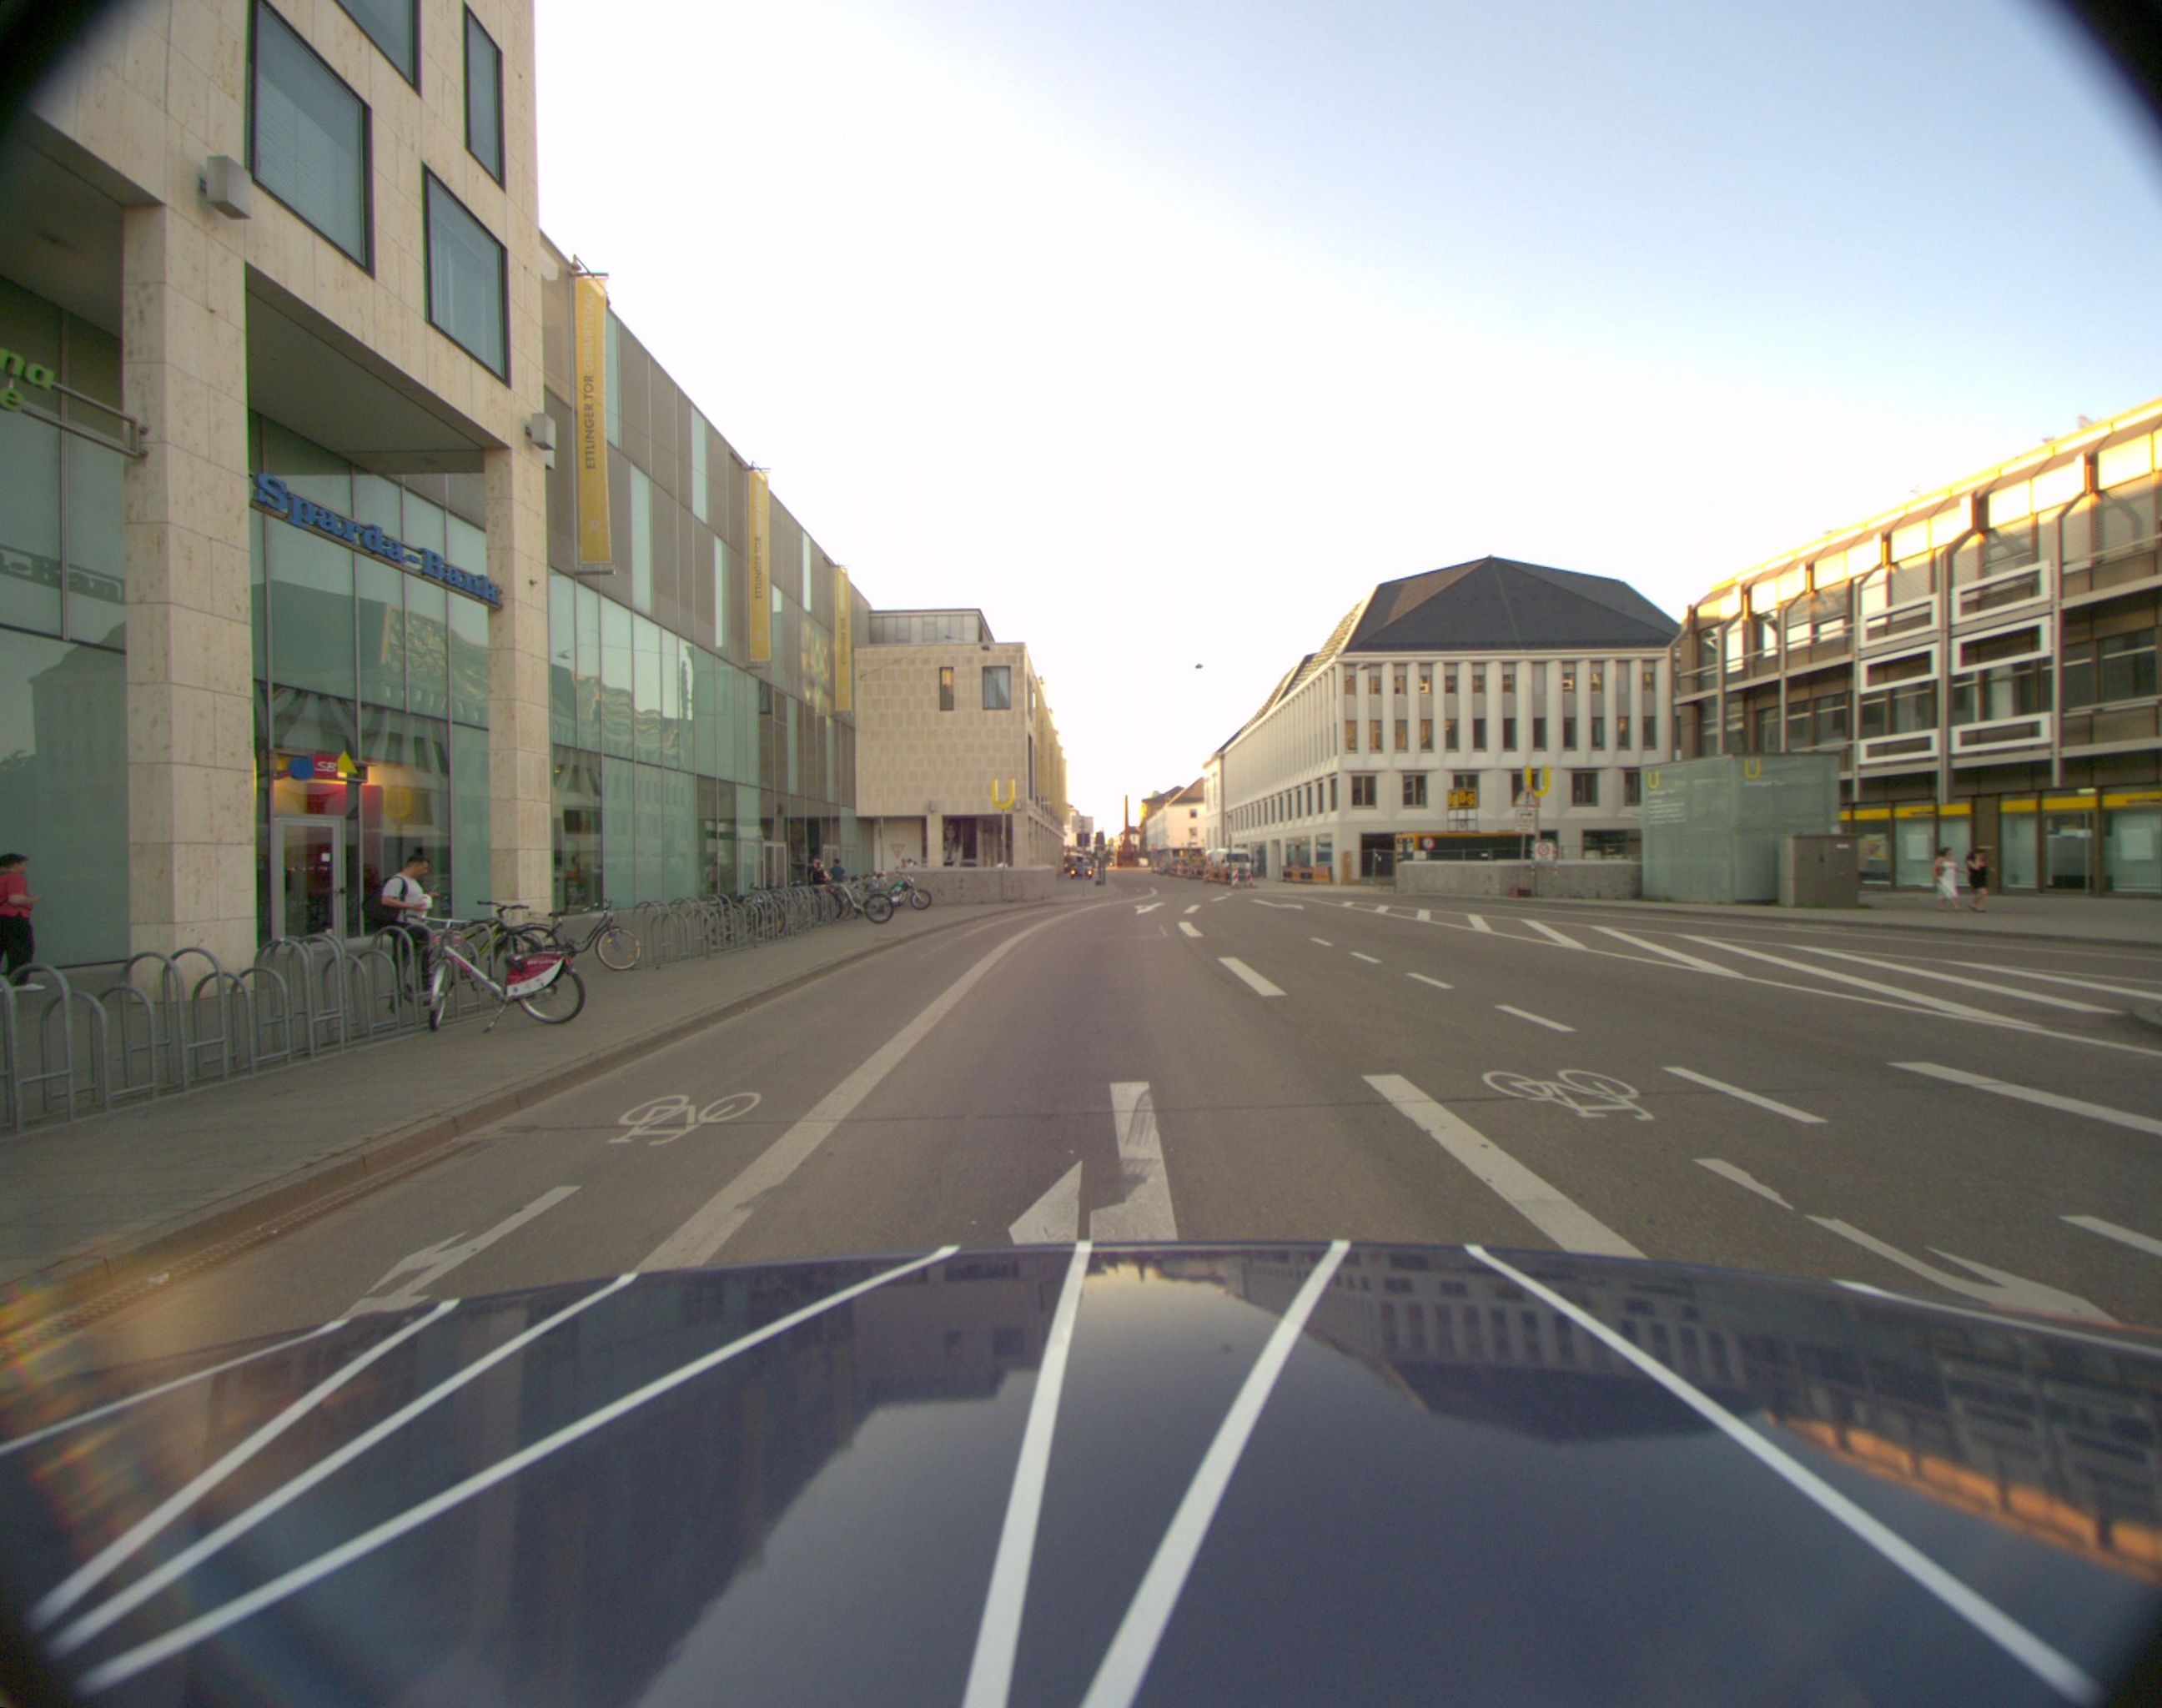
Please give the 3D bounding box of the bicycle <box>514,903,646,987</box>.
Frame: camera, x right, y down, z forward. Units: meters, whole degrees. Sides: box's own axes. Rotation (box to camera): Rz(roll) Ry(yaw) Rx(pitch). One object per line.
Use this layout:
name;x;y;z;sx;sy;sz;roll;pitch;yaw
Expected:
bicycle;-7.294;1.310;11.117;1.447;1.058;0.580;-3;0;-10

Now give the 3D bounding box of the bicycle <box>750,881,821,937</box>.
bicycle;-6.651;1.232;17.122;1.345;1.157;0.518;-3;0;-1

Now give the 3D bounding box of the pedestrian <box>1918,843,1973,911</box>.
pedestrian;21.179;0.560;18.619;0.670;1.629;0.584;-1;0;1

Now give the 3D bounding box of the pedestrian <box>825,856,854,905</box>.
pedestrian;-8.460;0.905;26.661;0.698;1.686;0.820;-1;0;3

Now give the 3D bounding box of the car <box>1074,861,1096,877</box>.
car;0.345;1.287;67.988;1.798;1.365;3.671;-1;0;2

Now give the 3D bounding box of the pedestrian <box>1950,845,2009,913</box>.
pedestrian;21.893;0.601;18.529;0.616;1.629;0.703;-1;0;1

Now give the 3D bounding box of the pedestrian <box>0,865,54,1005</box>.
pedestrian;-13.062;0.961;9.071;0.629;1.642;0.708;-1;0;2

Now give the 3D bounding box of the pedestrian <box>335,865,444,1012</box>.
pedestrian;-8.259;0.980;9.105;0.708;1.682;0.629;-1;0;-8

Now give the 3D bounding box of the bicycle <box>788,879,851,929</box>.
bicycle;-6.595;1.259;19.207;1.345;1.157;0.518;-3;0;-1

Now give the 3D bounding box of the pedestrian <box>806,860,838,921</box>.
pedestrian;-7.103;0.996;20.875;0.809;1.633;0.646;-1;0;-18

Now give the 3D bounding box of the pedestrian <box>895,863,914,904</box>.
pedestrian;-7.809;1.285;33.677;0.619;1.770;0.812;-1;0;3

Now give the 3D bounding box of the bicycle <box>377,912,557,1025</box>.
bicycle;-6.789;1.253;8.436;1.518;1.117;0.581;-3;0;4

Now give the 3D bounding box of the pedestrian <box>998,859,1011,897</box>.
pedestrian;-3.486;1.080;34.582;0.516;1.733;0.493;-1;0;3

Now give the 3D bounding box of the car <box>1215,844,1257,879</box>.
car;11.991;0.576;59.208;2.141;2.540;6.050;-1;0;1

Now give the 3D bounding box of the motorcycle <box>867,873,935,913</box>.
motorcycle;-5.703;1.235;24.129;2.007;1.217;0.480;-1;0;-2

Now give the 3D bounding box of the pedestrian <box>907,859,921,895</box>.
pedestrian;-8.013;1.102;36.407;0.494;1.733;0.657;-1;0;3

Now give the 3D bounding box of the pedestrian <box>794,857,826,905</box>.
pedestrian;-9.344;0.923;26.199;0.740;1.638;0.820;-1;0;4

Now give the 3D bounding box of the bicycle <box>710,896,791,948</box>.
bicycle;-6.588;1.348;15.193;1.345;0.927;0.518;-3;0;-1

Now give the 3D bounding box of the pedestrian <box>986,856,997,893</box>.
pedestrian;-4.295;0.973;36.478;0.454;1.733;0.493;-1;0;3

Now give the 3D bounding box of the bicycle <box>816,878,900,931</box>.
bicycle;-5.381;1.213;18.364;1.838;1.140;0.466;-3;0;1

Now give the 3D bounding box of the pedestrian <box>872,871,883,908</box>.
pedestrian;-9.631;1.663;35.952;0.364;1.733;0.452;-1;0;3

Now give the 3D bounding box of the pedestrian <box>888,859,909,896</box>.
pedestrian;-8.724;1.127;36.386;0.793;1.733;0.657;-1;0;3

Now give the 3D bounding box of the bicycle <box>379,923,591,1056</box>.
bicycle;-5.390;1.214;6.911;1.518;1.057;0.466;-3;0;1

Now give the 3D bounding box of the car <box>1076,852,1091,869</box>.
car;0.323;0.816;100.750;1.798;2.198;3.671;-1;0;2

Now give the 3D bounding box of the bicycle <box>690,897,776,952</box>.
bicycle;-6.646;1.339;14.547;1.345;0.927;0.518;-3;0;-1
